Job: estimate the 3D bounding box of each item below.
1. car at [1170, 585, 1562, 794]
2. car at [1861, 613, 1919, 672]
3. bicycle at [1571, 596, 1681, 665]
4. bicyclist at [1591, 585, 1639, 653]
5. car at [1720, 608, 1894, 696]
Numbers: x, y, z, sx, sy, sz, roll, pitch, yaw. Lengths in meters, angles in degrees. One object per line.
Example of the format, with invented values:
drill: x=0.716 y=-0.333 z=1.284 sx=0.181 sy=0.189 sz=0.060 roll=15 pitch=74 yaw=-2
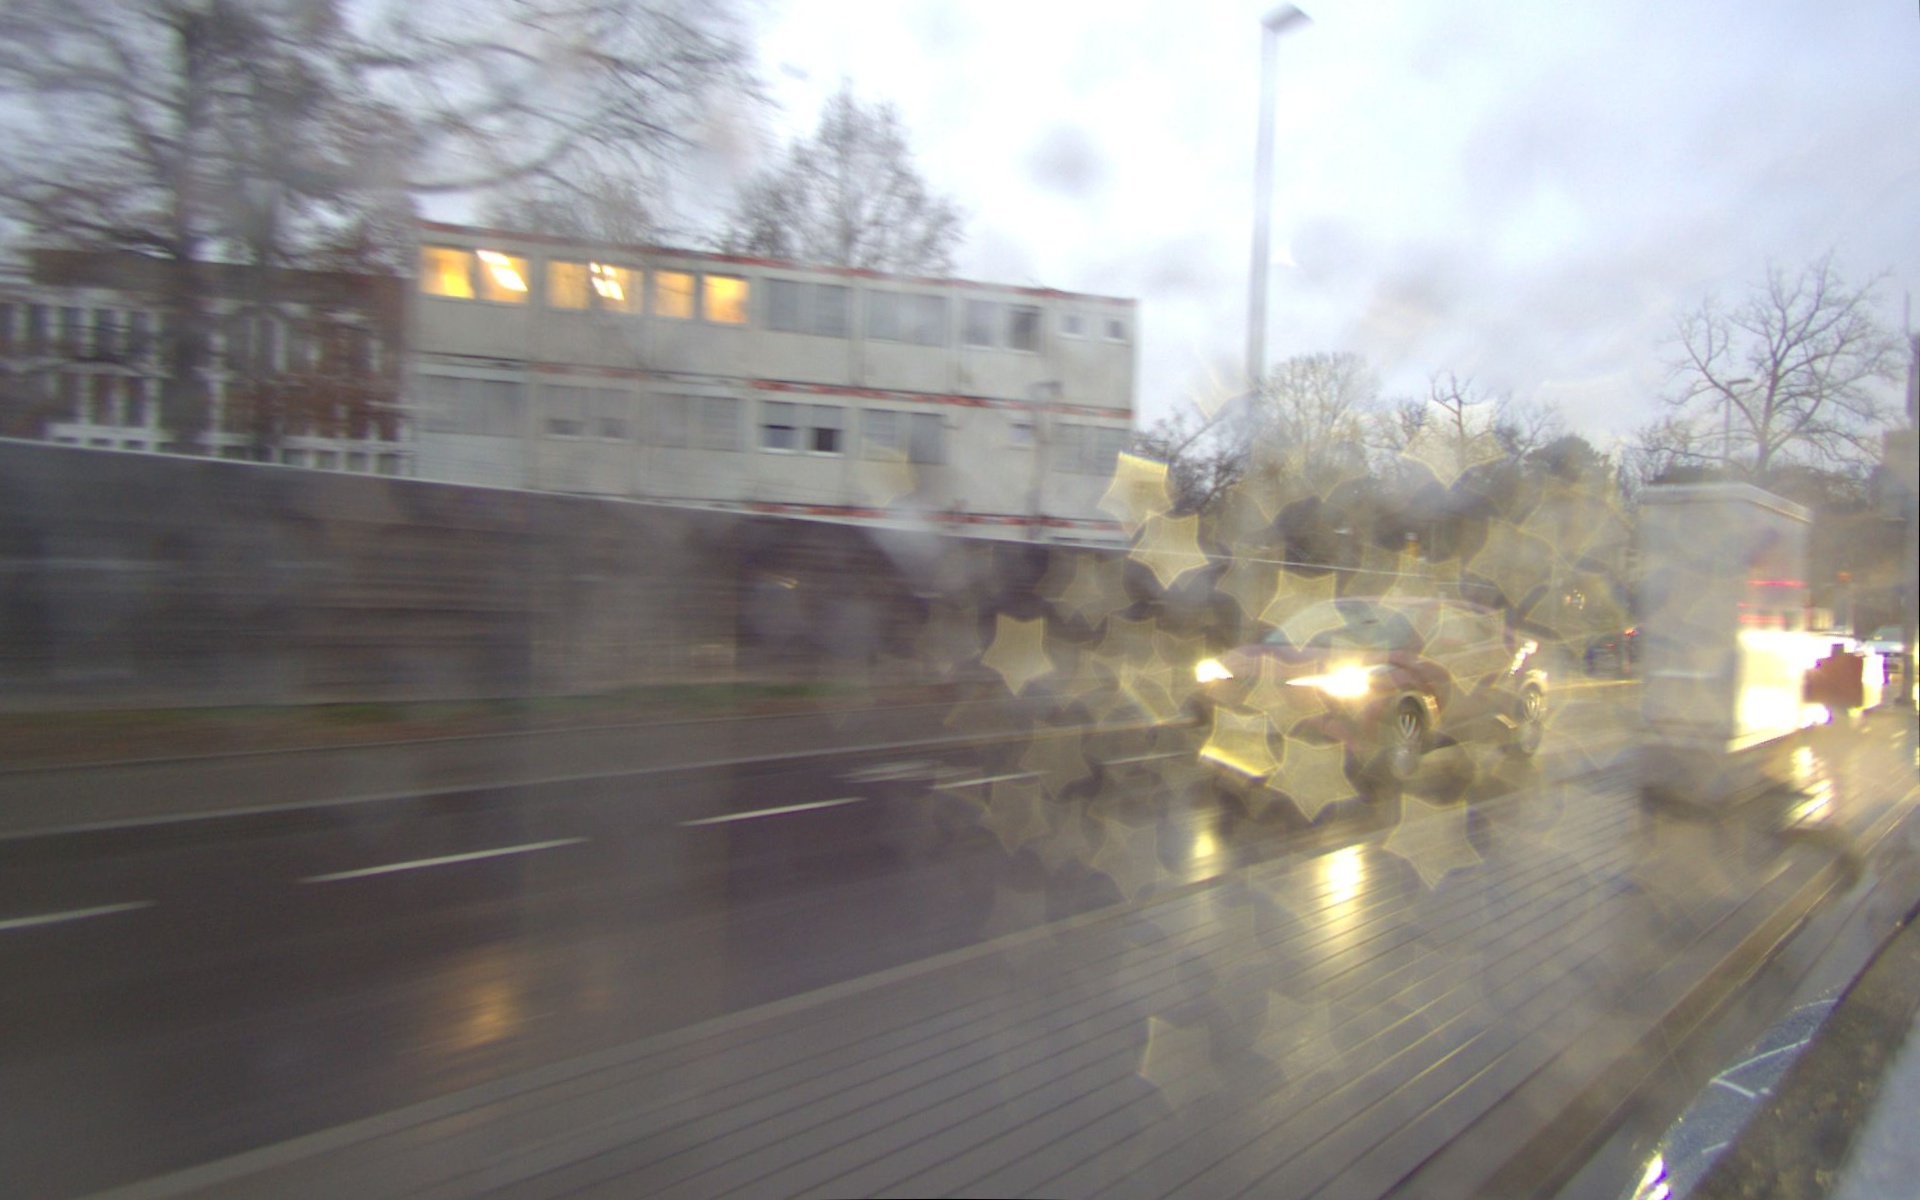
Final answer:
car: x=3.829 y=0.649 z=9.235 sx=3.930 sy=1.498 sz=1.725 roll=0 pitch=-1 yaw=-41
car: x=26.049 y=1.116 z=27.296 sx=3.964 sy=1.480 sz=1.779 roll=0 pitch=1 yaw=-36
bicycle: x=16.975 y=0.744 z=25.838 sx=0.677 sy=1.678 sz=2.247 roll=0 pitch=-1 yaw=-35
bicyclist: x=16.831 y=0.481 z=26.026 sx=0.684 sy=1.700 sz=0.818 roll=1 pitch=0 yaw=-35
car: x=17.375 y=0.971 z=20.676 sx=4.877 sy=1.520 sz=1.791 roll=0 pitch=1 yaw=-38
